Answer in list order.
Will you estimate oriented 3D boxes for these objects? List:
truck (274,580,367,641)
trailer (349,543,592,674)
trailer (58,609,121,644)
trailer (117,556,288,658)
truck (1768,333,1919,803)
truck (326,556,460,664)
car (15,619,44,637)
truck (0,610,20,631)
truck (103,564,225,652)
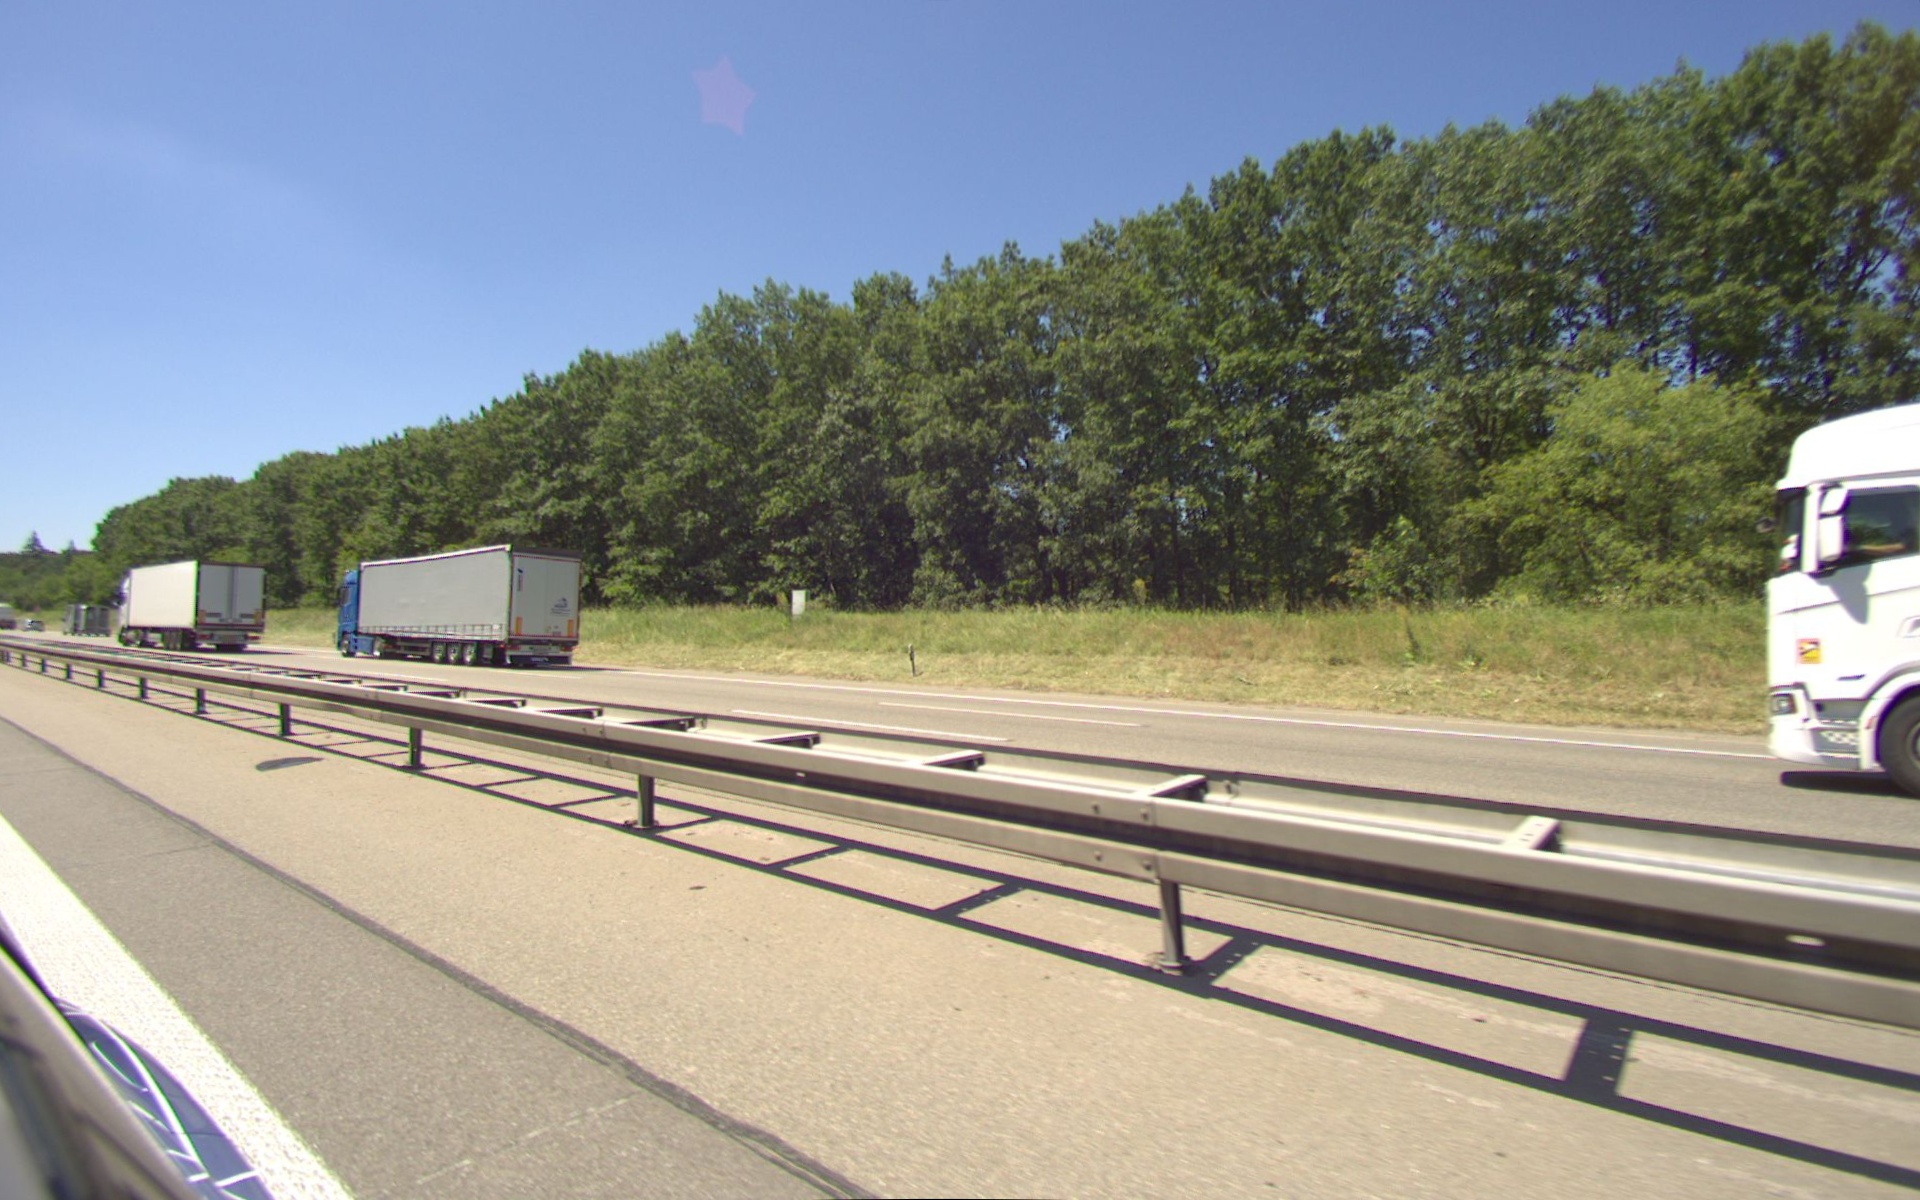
[{"bbox_3d":[-31.231,0.497,49.356,6.104,2.789,2.134,-1,0,41],"label":"truck"},{"bbox_3d":[-19.052,0.420,38.571,13.847,4.216,2.902,-1,-4,41],"label":"trailer"},{"bbox_3d":[-77.889,2.307,90.505,7.170,2.998,3.190,-1,0,40],"label":"trailer"},{"bbox_3d":[-36.667,0.432,48.657,13.655,4.216,3.494,-1,-4,41],"label":"trailer"},{"bbox_3d":[11.836,-0.228,9.075,7.054,4.353,3.494,-1,-4,41],"label":"truck"},{"bbox_3d":[-24.125,0.486,42.968,6.036,4.216,2.902,-1,-4,41],"label":"truck"},{"bbox_3d":[-109.808,3.305,119.458,3.996,2.029,1.974,-1,0,39],"label":"car"},{"bbox_3d":[-128.710,2.718,135.335,8.790,2.787,3.496,-1,0,41],"label":"truck"},{"bbox_3d":[-41.796,0.499,53.054,7.109,4.216,3.494,-1,-4,41],"label":"truck"}]
